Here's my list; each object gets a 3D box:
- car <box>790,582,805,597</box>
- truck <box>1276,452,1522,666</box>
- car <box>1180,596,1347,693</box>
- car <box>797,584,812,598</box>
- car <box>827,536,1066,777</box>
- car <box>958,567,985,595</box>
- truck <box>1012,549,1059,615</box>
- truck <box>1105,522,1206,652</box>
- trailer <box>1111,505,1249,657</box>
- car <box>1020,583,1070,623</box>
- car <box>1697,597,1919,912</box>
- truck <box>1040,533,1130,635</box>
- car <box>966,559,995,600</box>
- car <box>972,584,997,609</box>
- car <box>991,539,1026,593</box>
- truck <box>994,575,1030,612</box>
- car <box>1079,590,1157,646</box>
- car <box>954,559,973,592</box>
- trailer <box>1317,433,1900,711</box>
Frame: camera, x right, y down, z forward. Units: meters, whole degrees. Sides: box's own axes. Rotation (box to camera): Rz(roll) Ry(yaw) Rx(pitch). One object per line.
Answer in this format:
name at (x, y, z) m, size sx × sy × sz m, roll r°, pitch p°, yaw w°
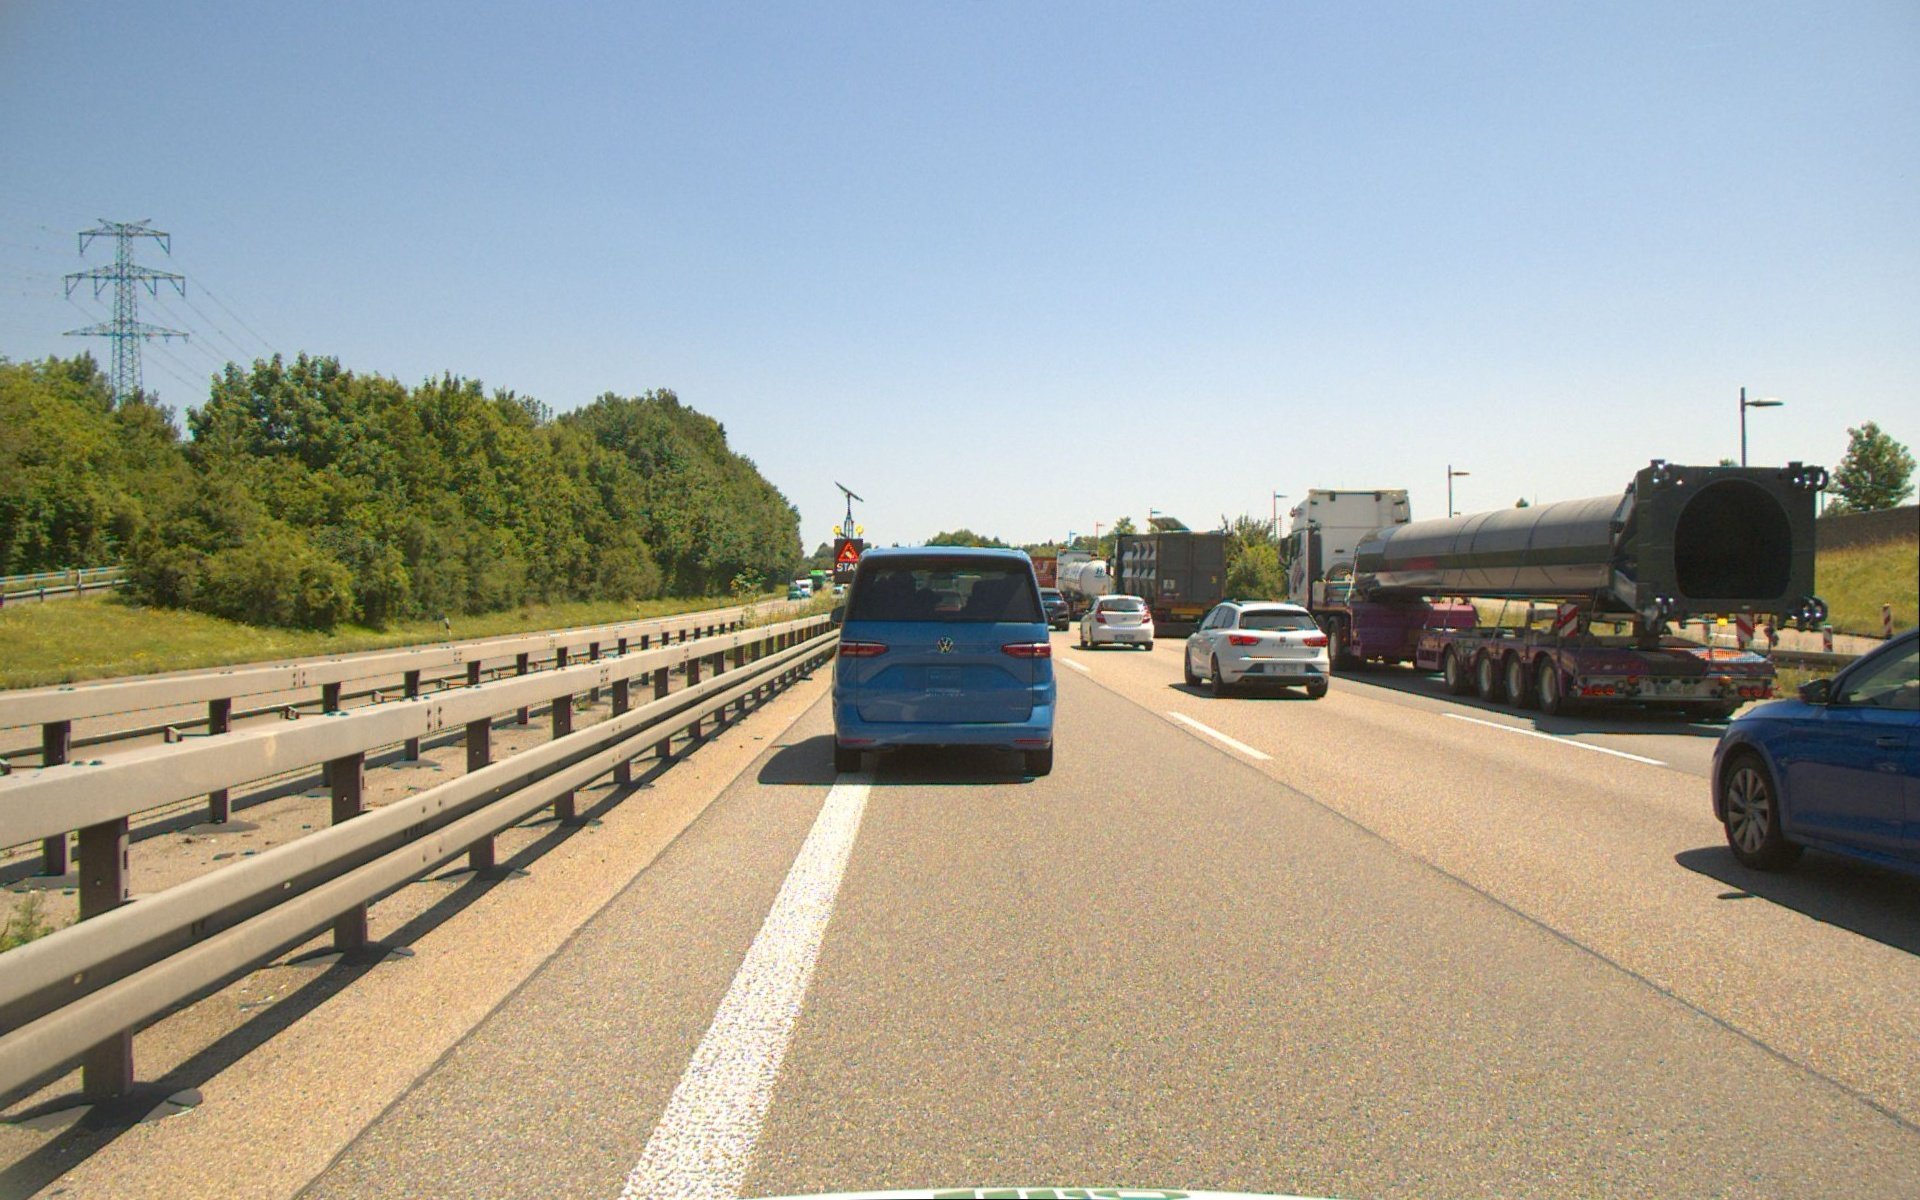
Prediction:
car at (-22.057, -1.460, 224.474) m, size 1.760 × 1.919 × 3.999 m, roll 1°, pitch 0°, yaw -1°
truck at (9.383, -0.785, 36.397) m, size 3.551 × 4.166 × 7.525 m, roll 1°, pitch 0°, yaw 2°
car at (4.727, 0.650, 26.283) m, size 1.830 × 1.385 × 3.999 m, roll 1°, pitch 0°, yaw -1°
car at (-22.798, -1.340, 242.564) m, size 1.760 × 1.919 × 3.999 m, roll 1°, pitch 0°, yaw -1°
car at (-0.088, 0.460, 15.052) m, size 1.862 × 1.870 × 4.000 m, roll 1°, pitch 0°, yaw 0°
car at (1.133, -1.891, 167.825) m, size 2.499 × 2.765 × 5.620 m, roll 1°, pitch 0°, yaw -1°
truck at (5.959, -1.320, 131.920) m, size 3.006 × 5.006 × 10.687 m, roll 1°, pitch 0°, yaw -1°
truck at (8.272, -0.516, 70.763) m, size 3.584 × 5.270 × 5.708 m, roll 1°, pitch -1°, yaw 0°
trailer at (8.232, -0.613, 63.987) m, size 3.572 × 5.226 × 13.074 m, roll 1°, pitch 0°, yaw 0°
car at (3.416, 0.147, 67.318) m, size 1.745 × 1.551 × 3.999 m, roll 1°, pitch 0°, yaw -1°
car at (5.321, 0.734, 7.829) m, size 1.671 × 1.466 × 4.427 m, roll 1°, pitch 0°, yaw 0°
truck at (6.922, -0.782, 94.372) m, size 3.548 × 5.304 × 15.684 m, roll 1°, pitch 0°, yaw -1°
car at (2.771, -2.695, 222.747) m, size 3.155 × 5.349 × 8.137 m, roll 1°, pitch -1°, yaw -4°
car at (2.042, -0.306, 139.612) m, size 1.953 × 2.049 × 3.999 m, roll 1°, pitch 0°, yaw -1°
car at (5.009, -3.474, 171.937) m, size 3.153 × 5.349 × 8.142 m, roll 1°, pitch -1°, yaw -1°
truck at (2.719, -0.317, 87.420) m, size 1.690 × 1.890 × 3.999 m, roll 1°, pitch 0°, yaw -1°
car at (4.394, 0.496, 46.475) m, size 1.802 × 1.480 × 4.000 m, roll 1°, pitch 0°, yaw 0°
car at (0.478, -3.649, 252.887) m, size 2.661 × 4.795 × 11.557 m, roll 1°, pitch 0°, yaw -1°
trailer at (9.146, -0.264, 26.863) m, size 3.571 × 3.133 × 15.773 m, roll 1°, pitch 0°, yaw 1°
